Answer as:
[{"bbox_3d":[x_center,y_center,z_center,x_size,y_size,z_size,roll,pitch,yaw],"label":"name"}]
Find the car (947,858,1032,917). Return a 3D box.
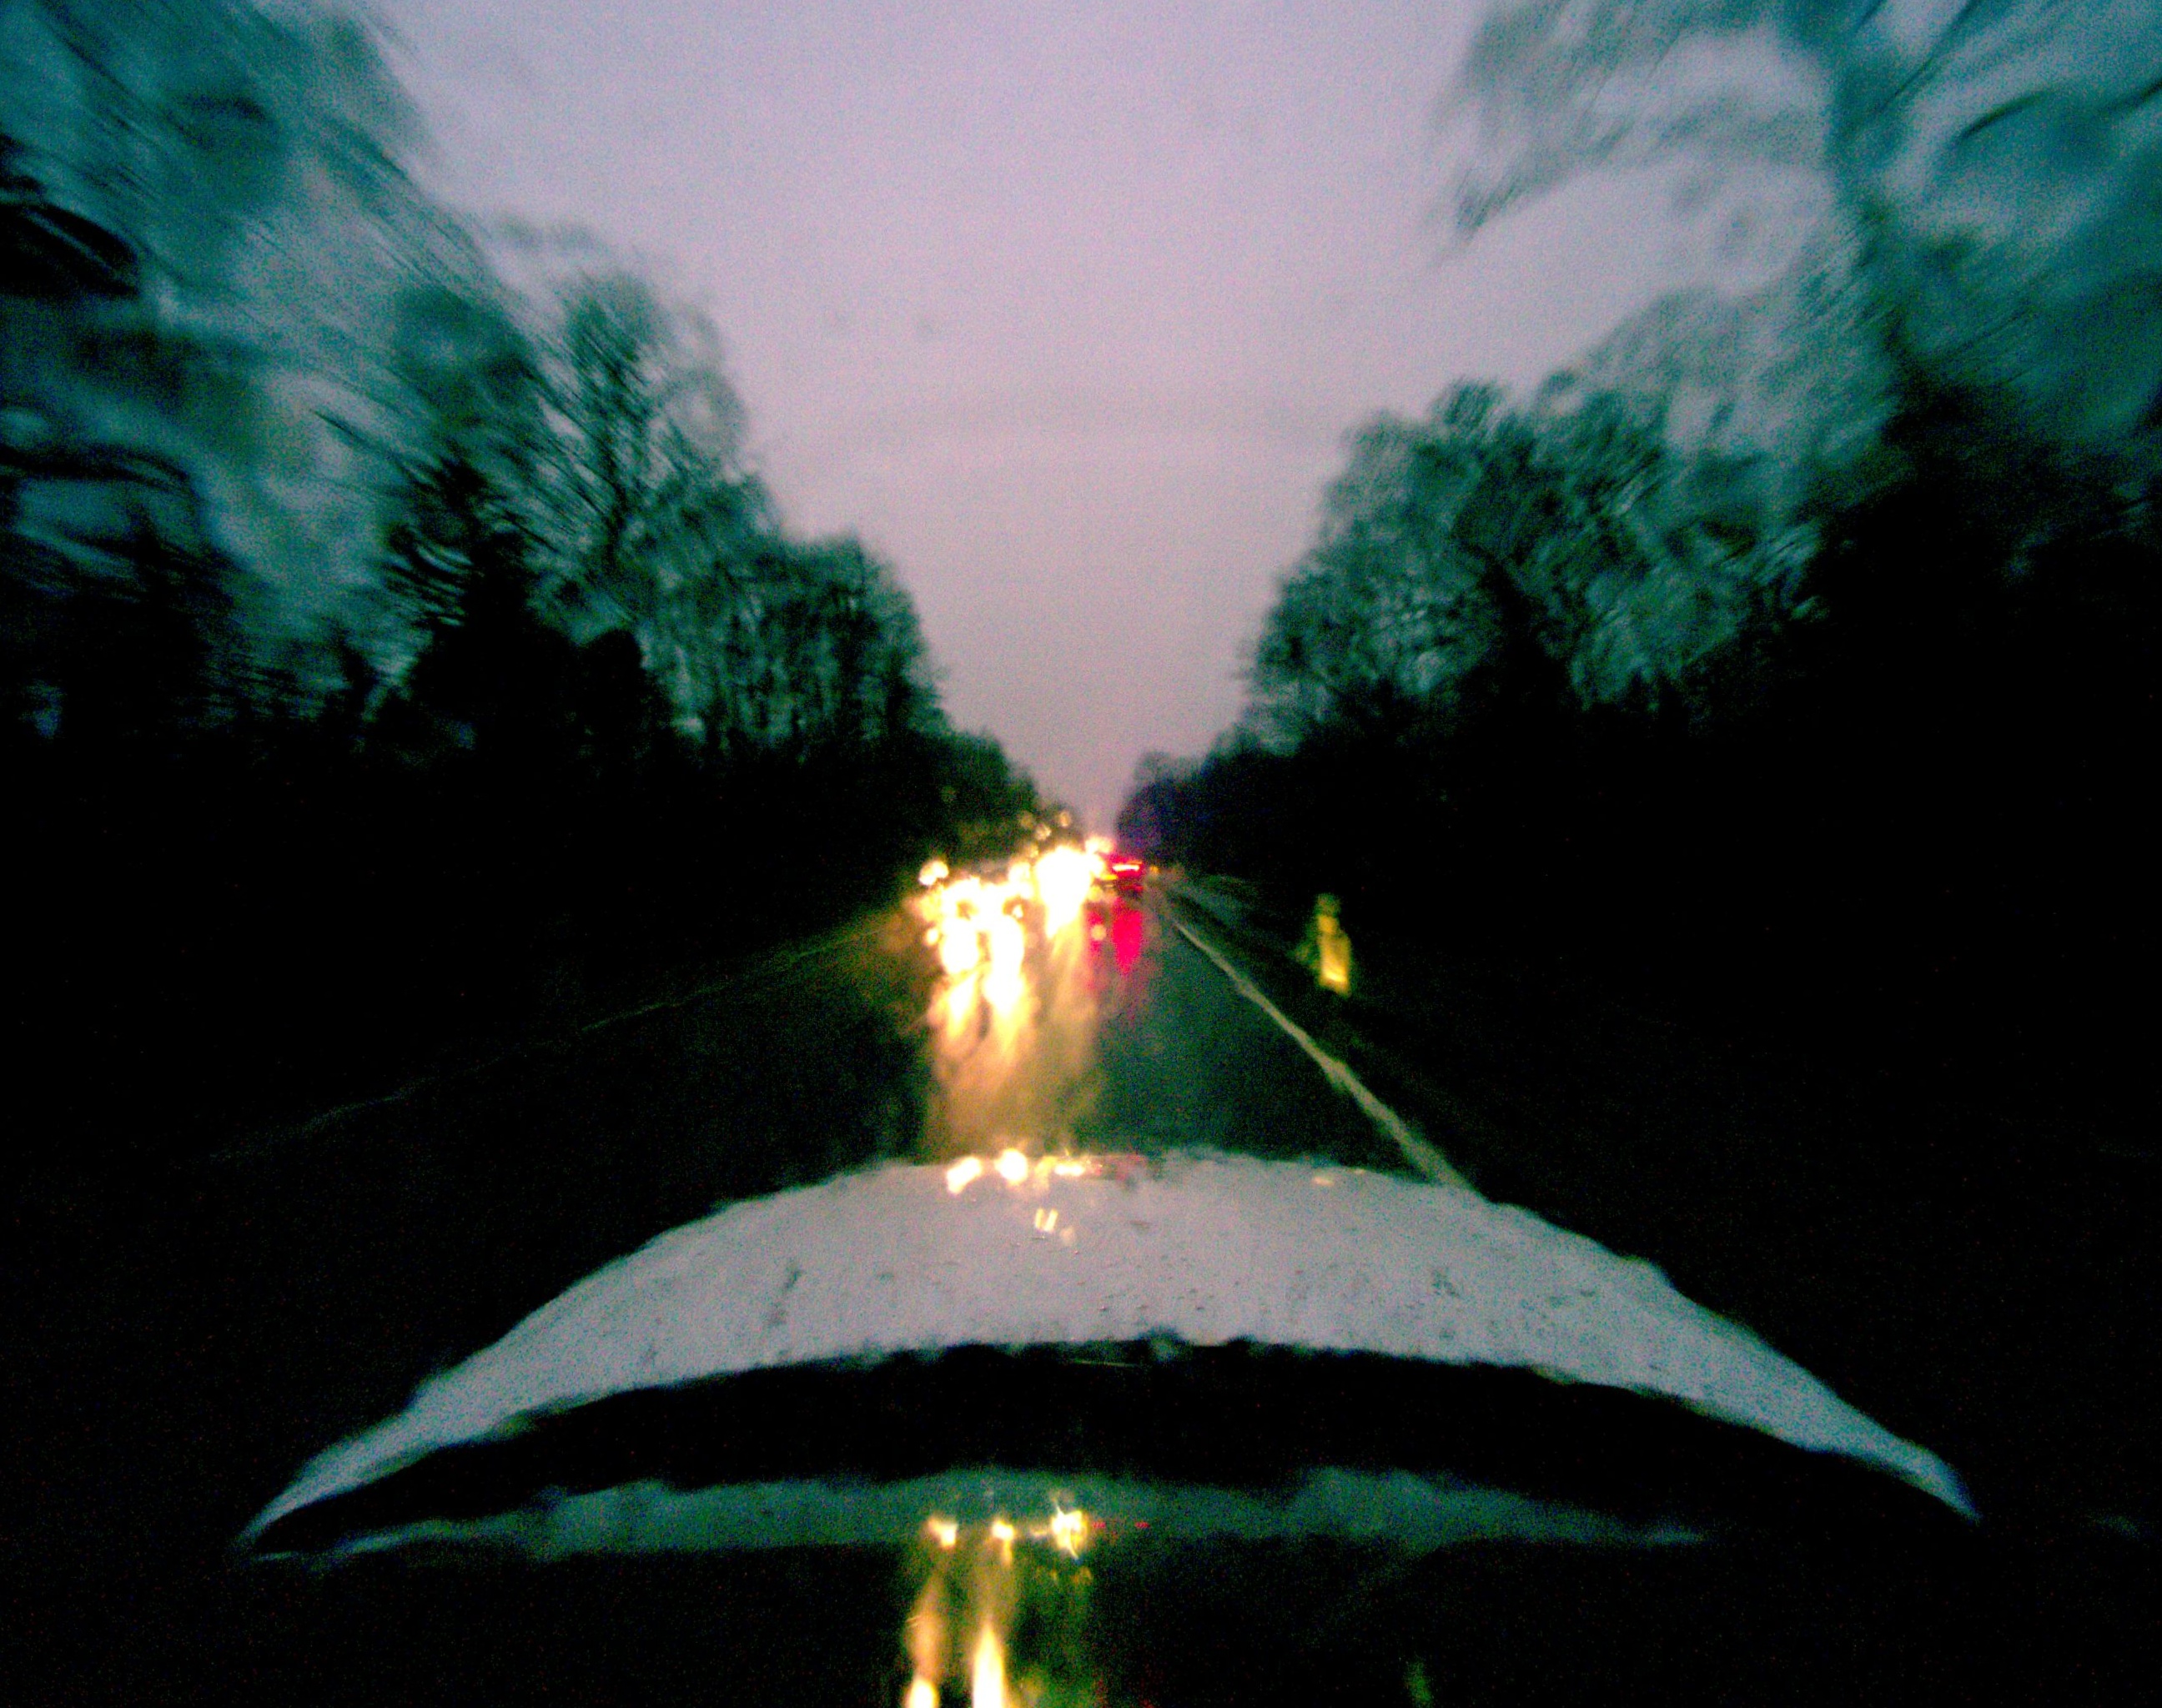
[{"bbox_3d":[-2.579,0.903,23.934,1.758,1.458,4.509,-4,0,2],"label":"car"}]

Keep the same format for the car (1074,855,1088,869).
[{"bbox_3d":[0.062,0.971,101.203,1.575,1.550,4.001,-3,0,1],"label":"car"}]

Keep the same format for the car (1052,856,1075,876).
[{"bbox_3d":[-1.485,1.062,71.188,1.734,1.635,4.002,-2,0,2],"label":"car"}]
